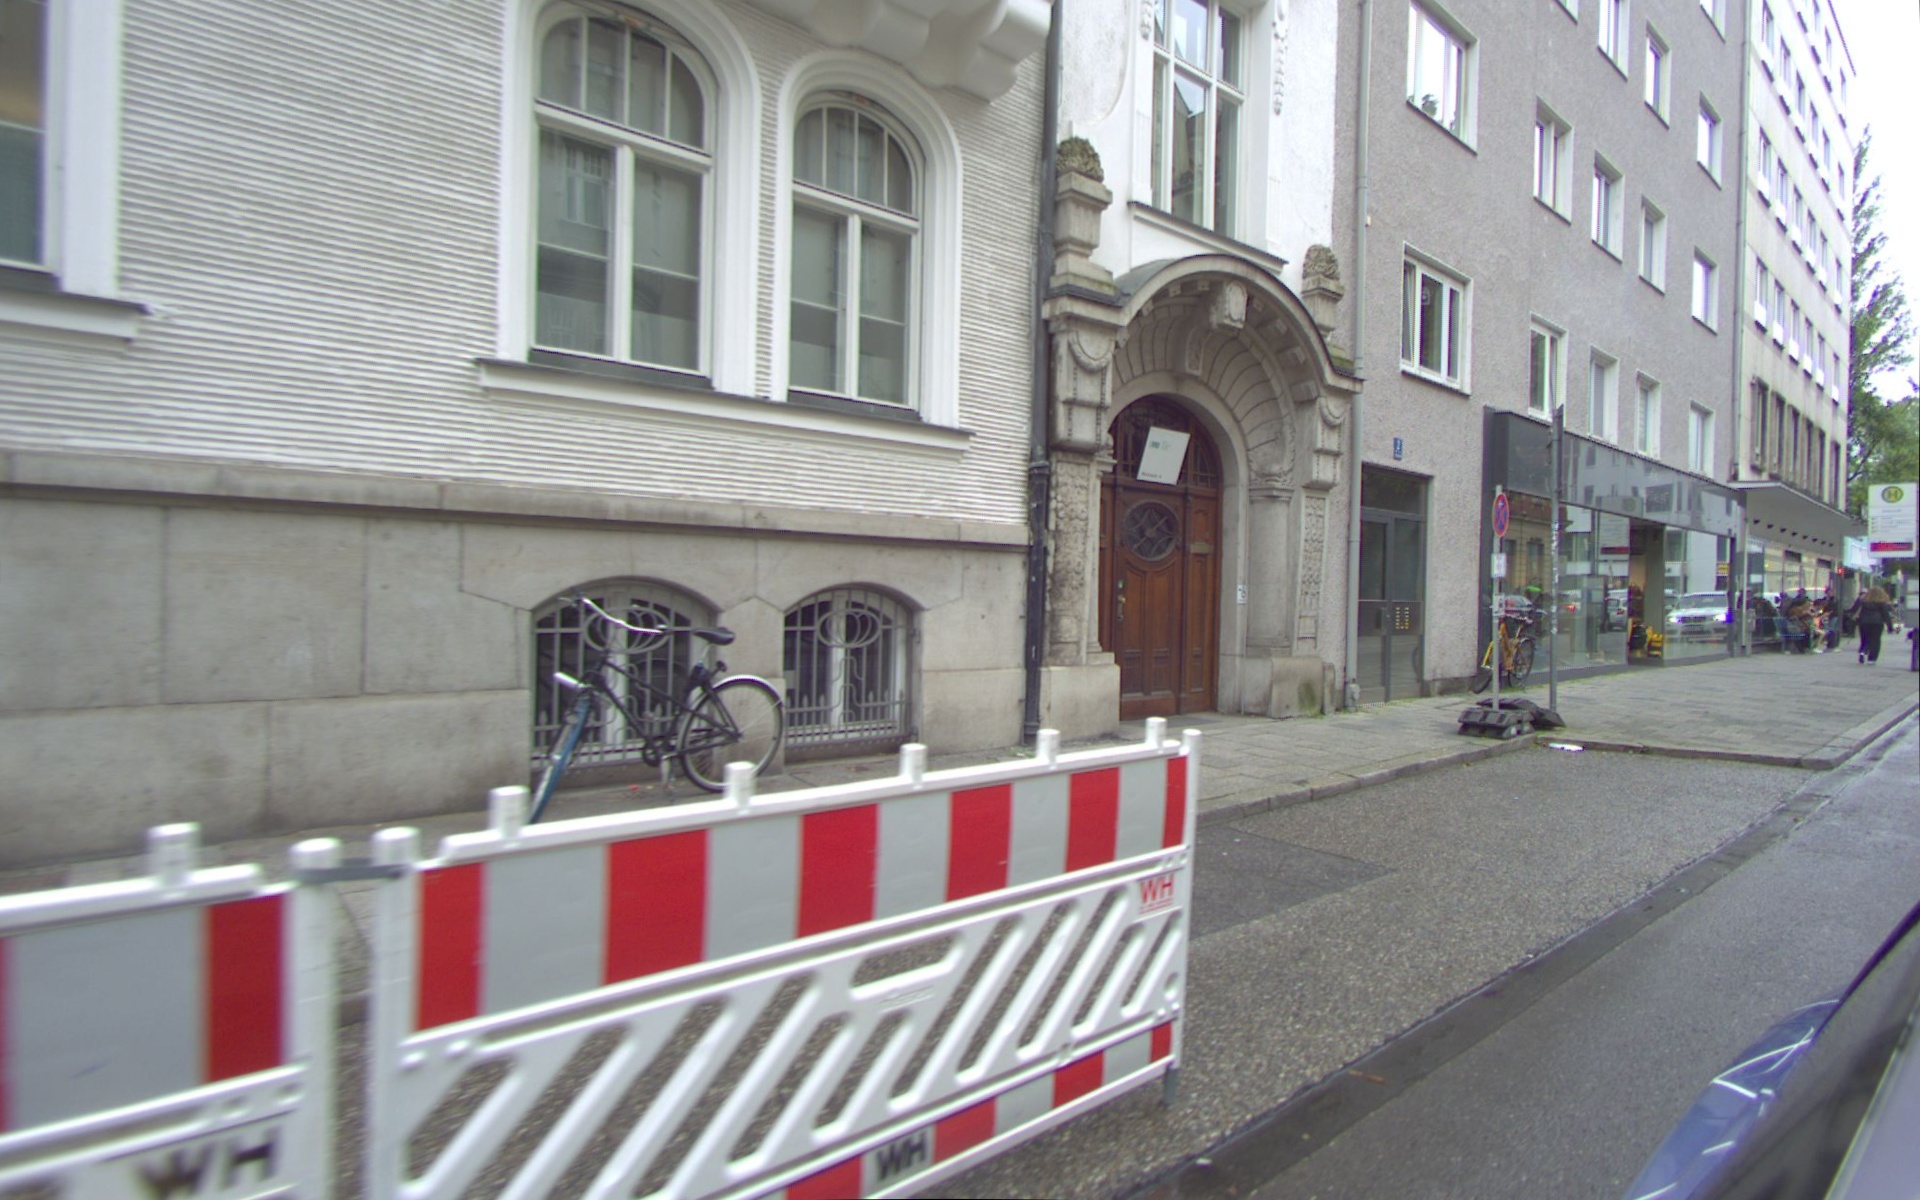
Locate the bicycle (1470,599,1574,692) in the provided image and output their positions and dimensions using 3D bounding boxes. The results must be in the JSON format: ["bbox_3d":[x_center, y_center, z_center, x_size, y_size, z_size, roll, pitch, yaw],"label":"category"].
[{"bbox_3d":[7.428,0.569,13.340,1.813,1.132,0.592,0,1,-41],"label":"bicycle"}]

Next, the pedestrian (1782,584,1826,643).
[{"bbox_3d":[21.411,0.340,25.685,0.561,1.465,0.747,0,1,-40],"label":"pedestrian"}]

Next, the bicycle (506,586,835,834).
[{"bbox_3d":[-1.578,0.526,5.648,1.623,1.186,0.684,0,1,-39],"label":"bicycle"}]

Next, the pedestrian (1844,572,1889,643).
[{"bbox_3d":[24.801,0.191,27.679,0.806,1.884,0.825,1,0,-42],"label":"pedestrian"}]

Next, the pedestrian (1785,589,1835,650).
[{"bbox_3d":[20.539,0.450,24.463,0.852,1.424,0.836,0,1,-45],"label":"pedestrian"}]

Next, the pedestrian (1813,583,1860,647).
[{"bbox_3d":[22.822,0.372,26.357,0.793,1.609,0.836,0,1,-45],"label":"pedestrian"}]

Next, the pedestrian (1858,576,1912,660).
[{"bbox_3d":[19.759,0.369,21.617,0.605,1.737,0.745,0,1,-40],"label":"pedestrian"}]
